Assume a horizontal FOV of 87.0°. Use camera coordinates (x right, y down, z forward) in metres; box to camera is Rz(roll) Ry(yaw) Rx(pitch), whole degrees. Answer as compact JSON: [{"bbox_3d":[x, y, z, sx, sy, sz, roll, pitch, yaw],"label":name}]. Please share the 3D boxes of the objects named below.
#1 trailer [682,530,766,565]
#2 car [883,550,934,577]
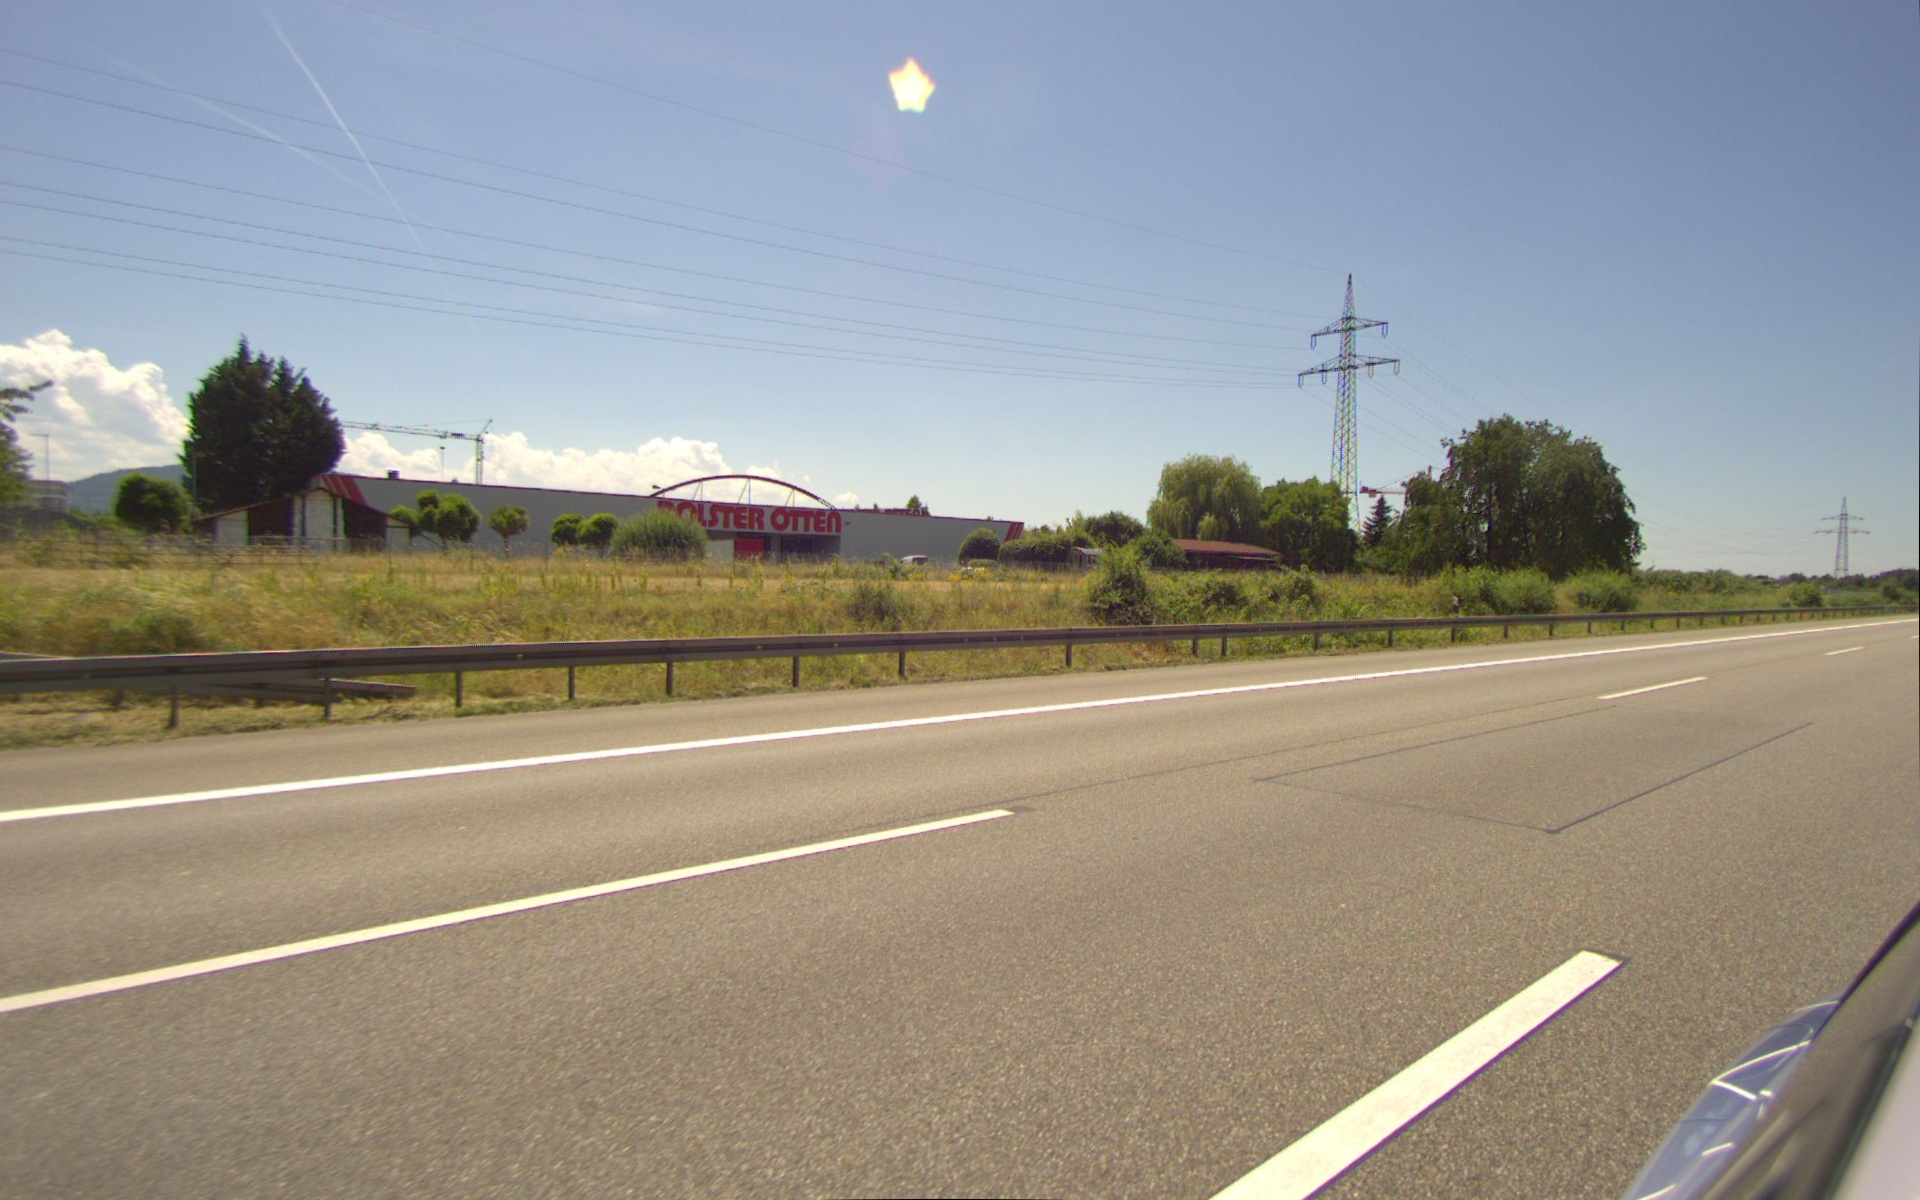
[{"bbox_3d":[-17.700,-3.974,75.553,2.926,2.410,7.927,0,3,-39],"label":"trailer"},{"bbox_3d":[-4.157,-2.948,81.557,1.967,2.039,3.990,0,0,-44],"label":"car"}]
